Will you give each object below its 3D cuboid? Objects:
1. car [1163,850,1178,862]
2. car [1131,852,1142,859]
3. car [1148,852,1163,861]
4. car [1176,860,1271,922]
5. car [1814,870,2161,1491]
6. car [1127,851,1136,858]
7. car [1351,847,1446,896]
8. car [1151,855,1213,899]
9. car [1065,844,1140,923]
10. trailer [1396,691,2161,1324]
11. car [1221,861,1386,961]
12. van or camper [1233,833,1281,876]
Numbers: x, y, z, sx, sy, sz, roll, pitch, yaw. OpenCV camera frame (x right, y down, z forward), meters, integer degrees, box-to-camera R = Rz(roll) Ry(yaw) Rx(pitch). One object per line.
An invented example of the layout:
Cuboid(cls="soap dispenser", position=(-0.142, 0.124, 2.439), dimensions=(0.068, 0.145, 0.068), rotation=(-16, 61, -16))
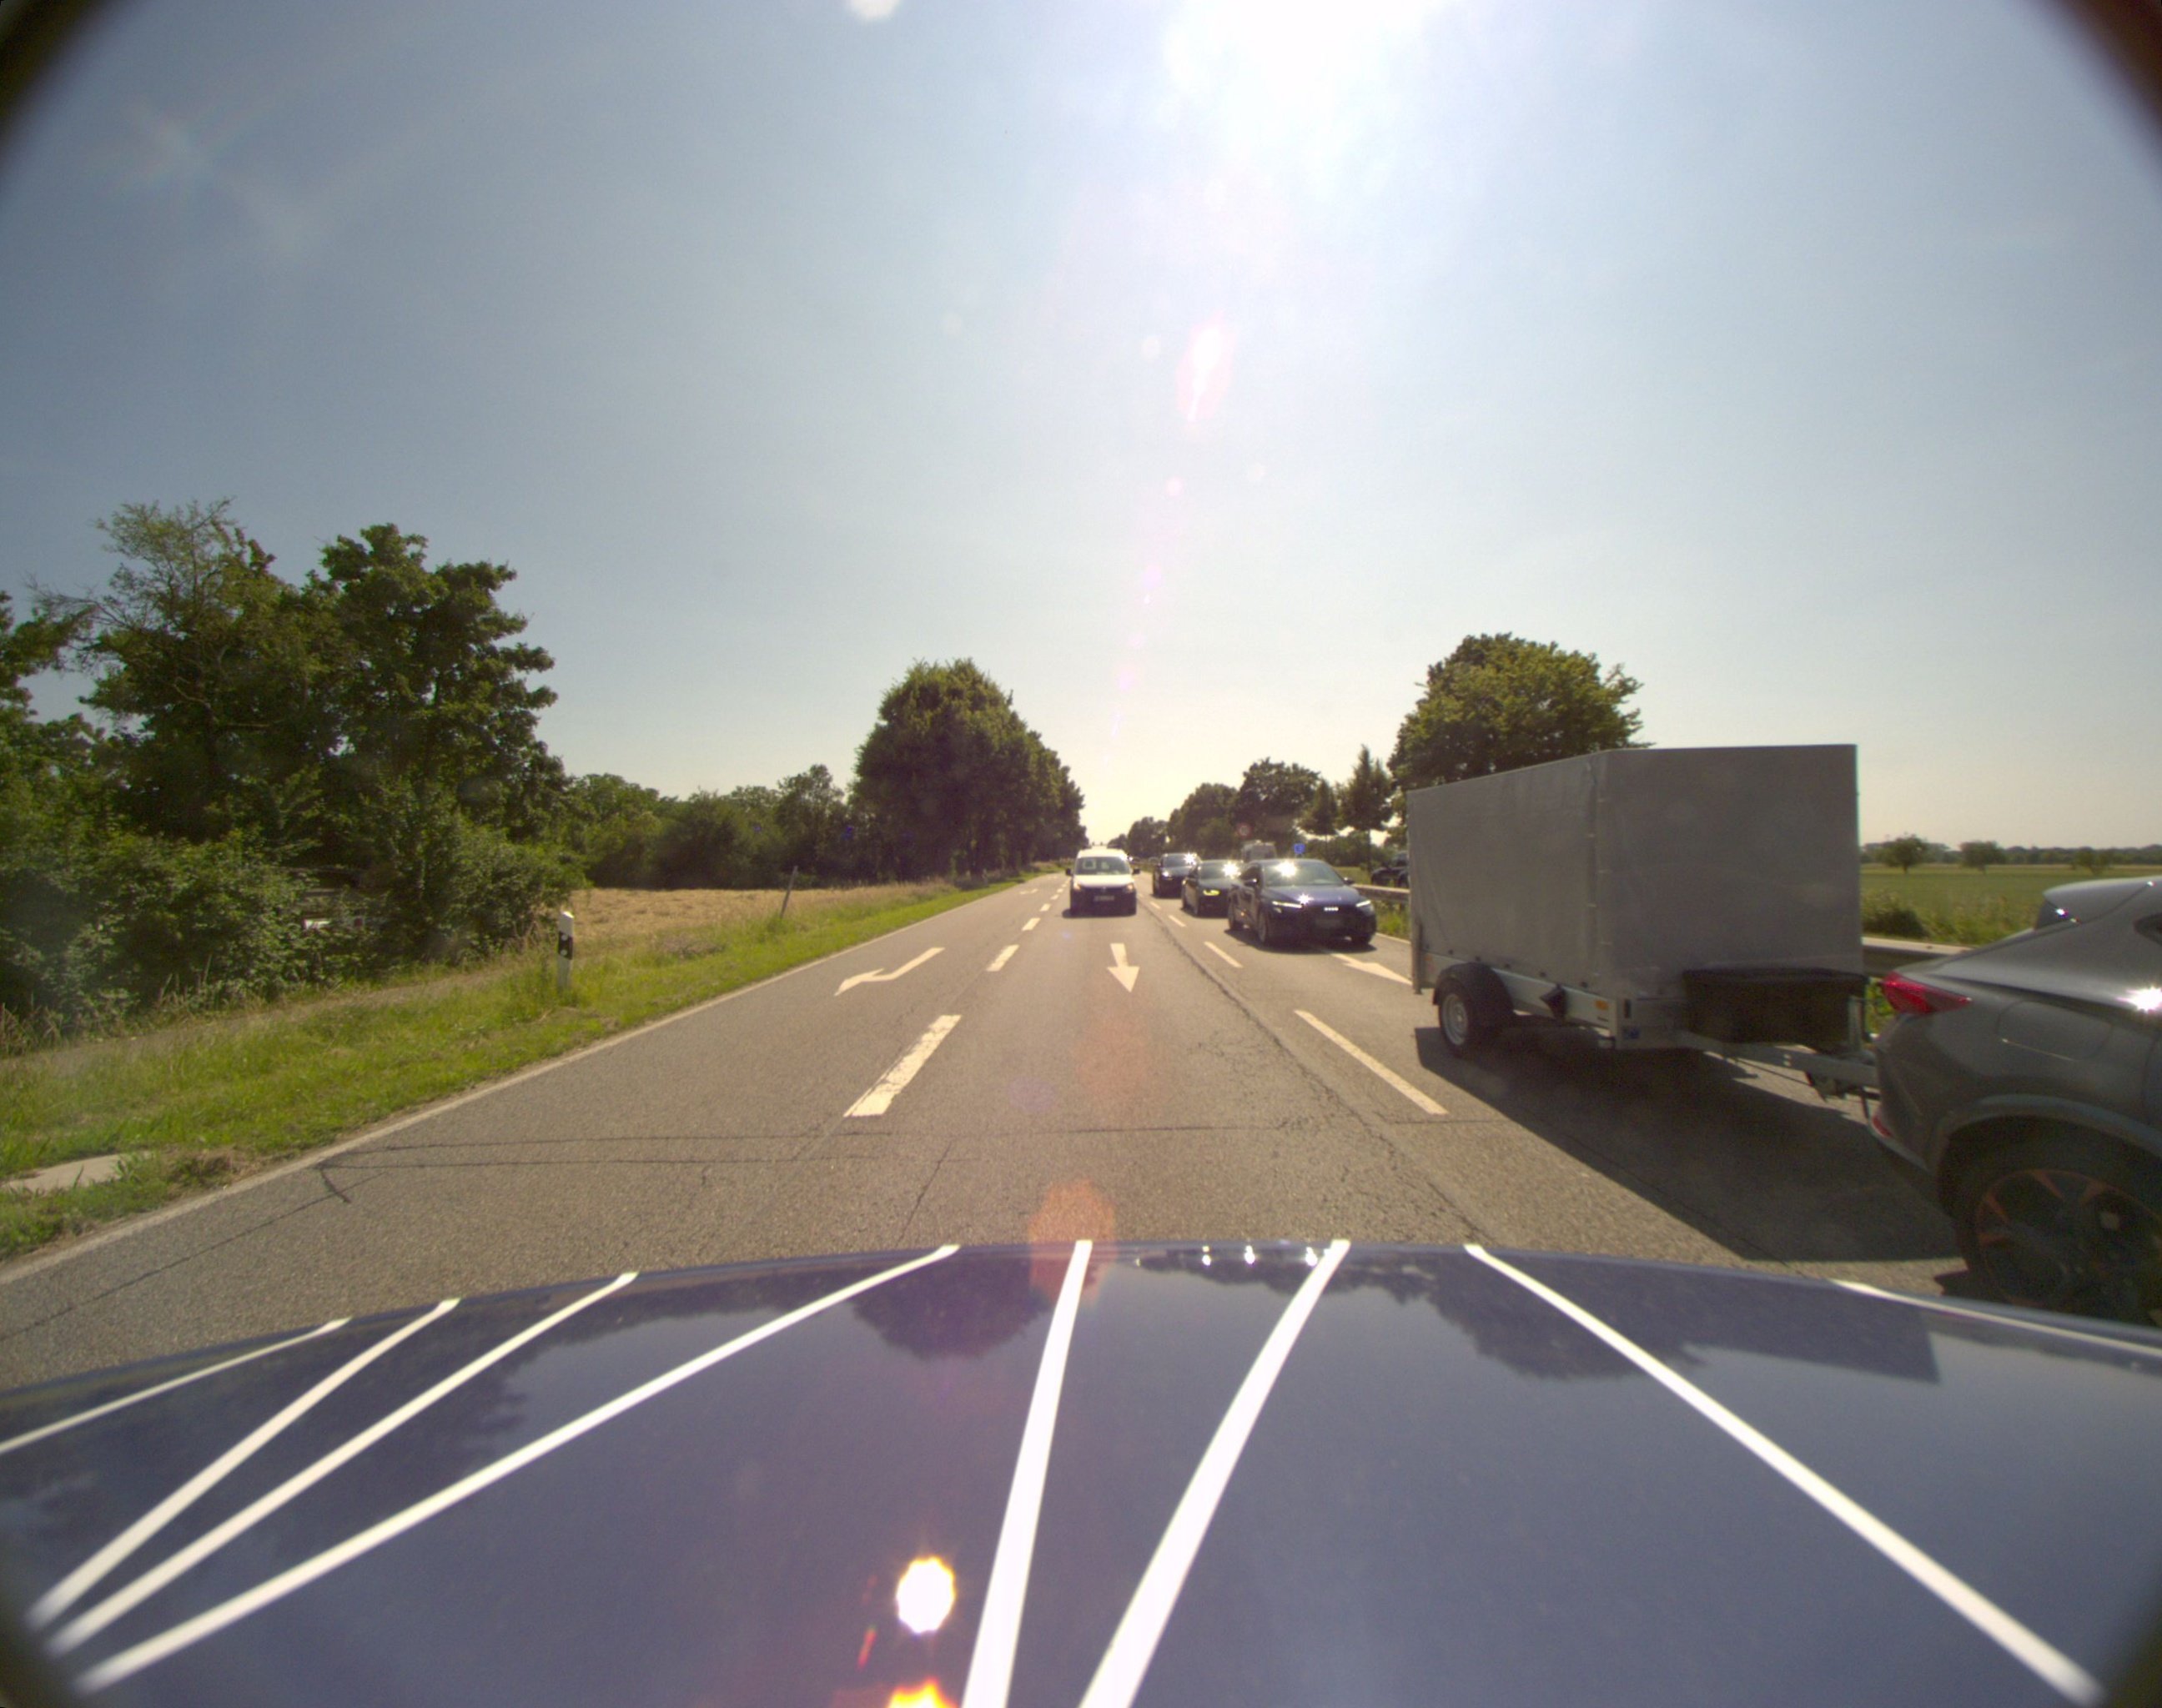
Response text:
Cuboid(cls="car", position=(14.732, 0.349, 125.306), dimensions=(1.998, 1.940, 4.830), rotation=(1, 0, 0))
Cuboid(cls="car", position=(11.976, 0.340, 163.333), dimensions=(1.998, 1.594, 4.480), rotation=(0, 0, 0))
Cuboid(cls="car", position=(11.370, 0.361, 115.639), dimensions=(1.884, 1.446, 4.504), rotation=(0, 0, 0))
Cuboid(cls="car", position=(3.701, 0.904, 20.440), dimensions=(1.744, 1.372, 4.455), rotation=(-2, 0, 1))
Cuboid(cls="car", position=(3.533, 0.811, 0.574), dimensions=(1.750, 1.494, 4.363), rotation=(-1, 0, 0))
Cuboid(cls="car", position=(12.468, 0.143, 188.648), dimensions=(1.998, 1.653, 4.480), rotation=(0, 0, 0))
Cuboid(cls="car", position=(12.902, 0.669, 31.216), dimensions=(1.862, 1.845, 4.696), rotation=(0, 0, -1))
Cuboid(cls="car", position=(3.746, 0.820, 28.843), dimensions=(1.860, 1.507, 4.100), rotation=(-1, 0, 2))
Cuboid(cls="car", position=(0.555, 0.723, 20.845), dimensions=(1.777, 1.863, 4.581), rotation=(-2, 0, 1))
Cuboid(cls="trailer", position=(3.570, 0.528, 4.698), dimensions=(1.504, 2.160, 4.174), rotation=(-1, 0, 0))
Cuboid(cls="car", position=(3.779, 0.887, 13.624), dimensions=(1.721, 1.456, 4.029), rotation=(-1, 0, 0))
Cuboid(cls="van or camper", position=(13.268, 0.049, 57.571), dimensions=(2.269, 3.081, 5.695), rotation=(0, 0, -1))
